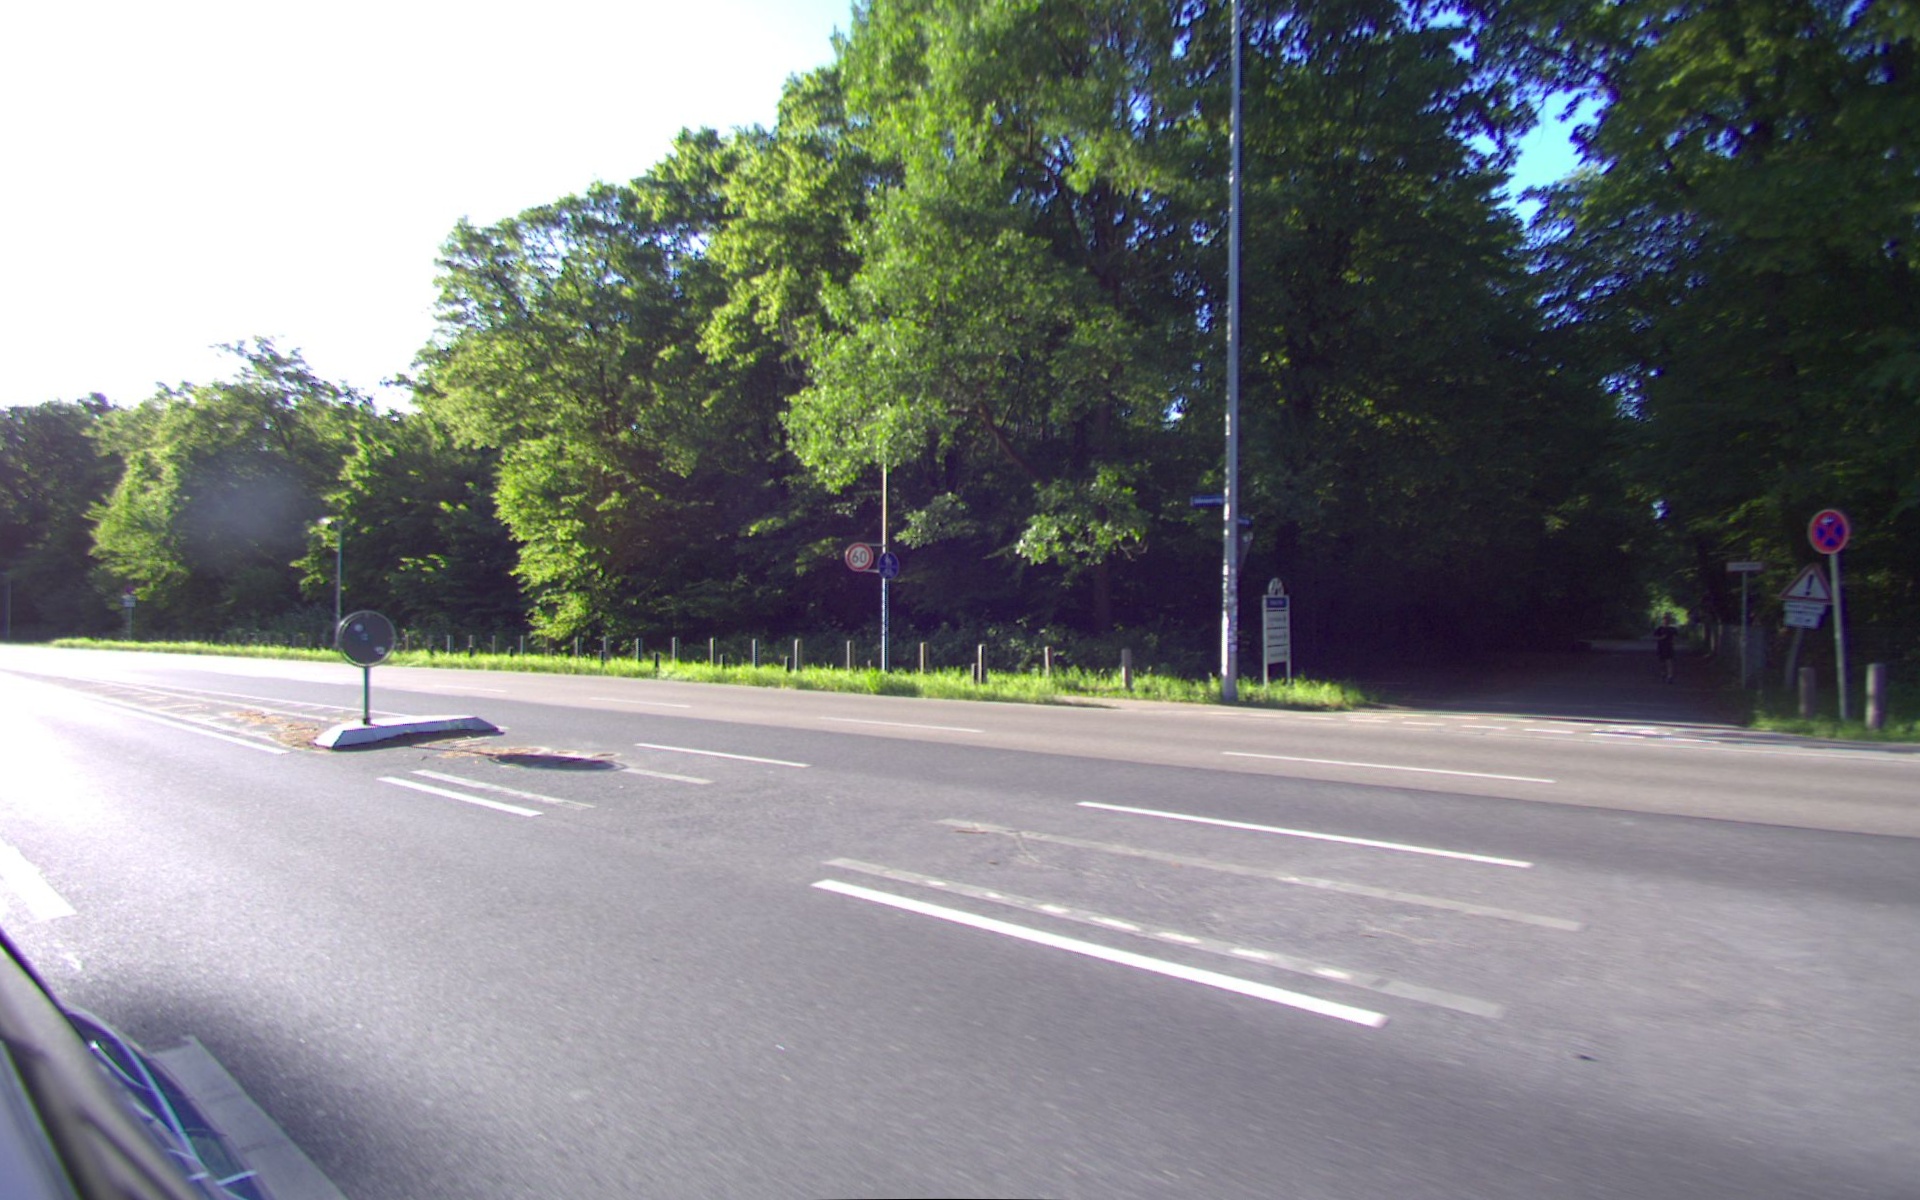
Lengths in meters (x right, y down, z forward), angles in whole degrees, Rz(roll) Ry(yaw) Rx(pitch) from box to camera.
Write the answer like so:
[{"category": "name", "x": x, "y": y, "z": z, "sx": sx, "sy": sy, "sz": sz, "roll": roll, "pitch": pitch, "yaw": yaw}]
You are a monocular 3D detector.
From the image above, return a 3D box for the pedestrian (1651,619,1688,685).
[{"category": "pedestrian", "x": 19.223, "y": 1.387, "z": 27.438, "sx": 0.704, "sy": 1.760, "sz": 0.644, "roll": -2, "pitch": -2, "yaw": 43}]
